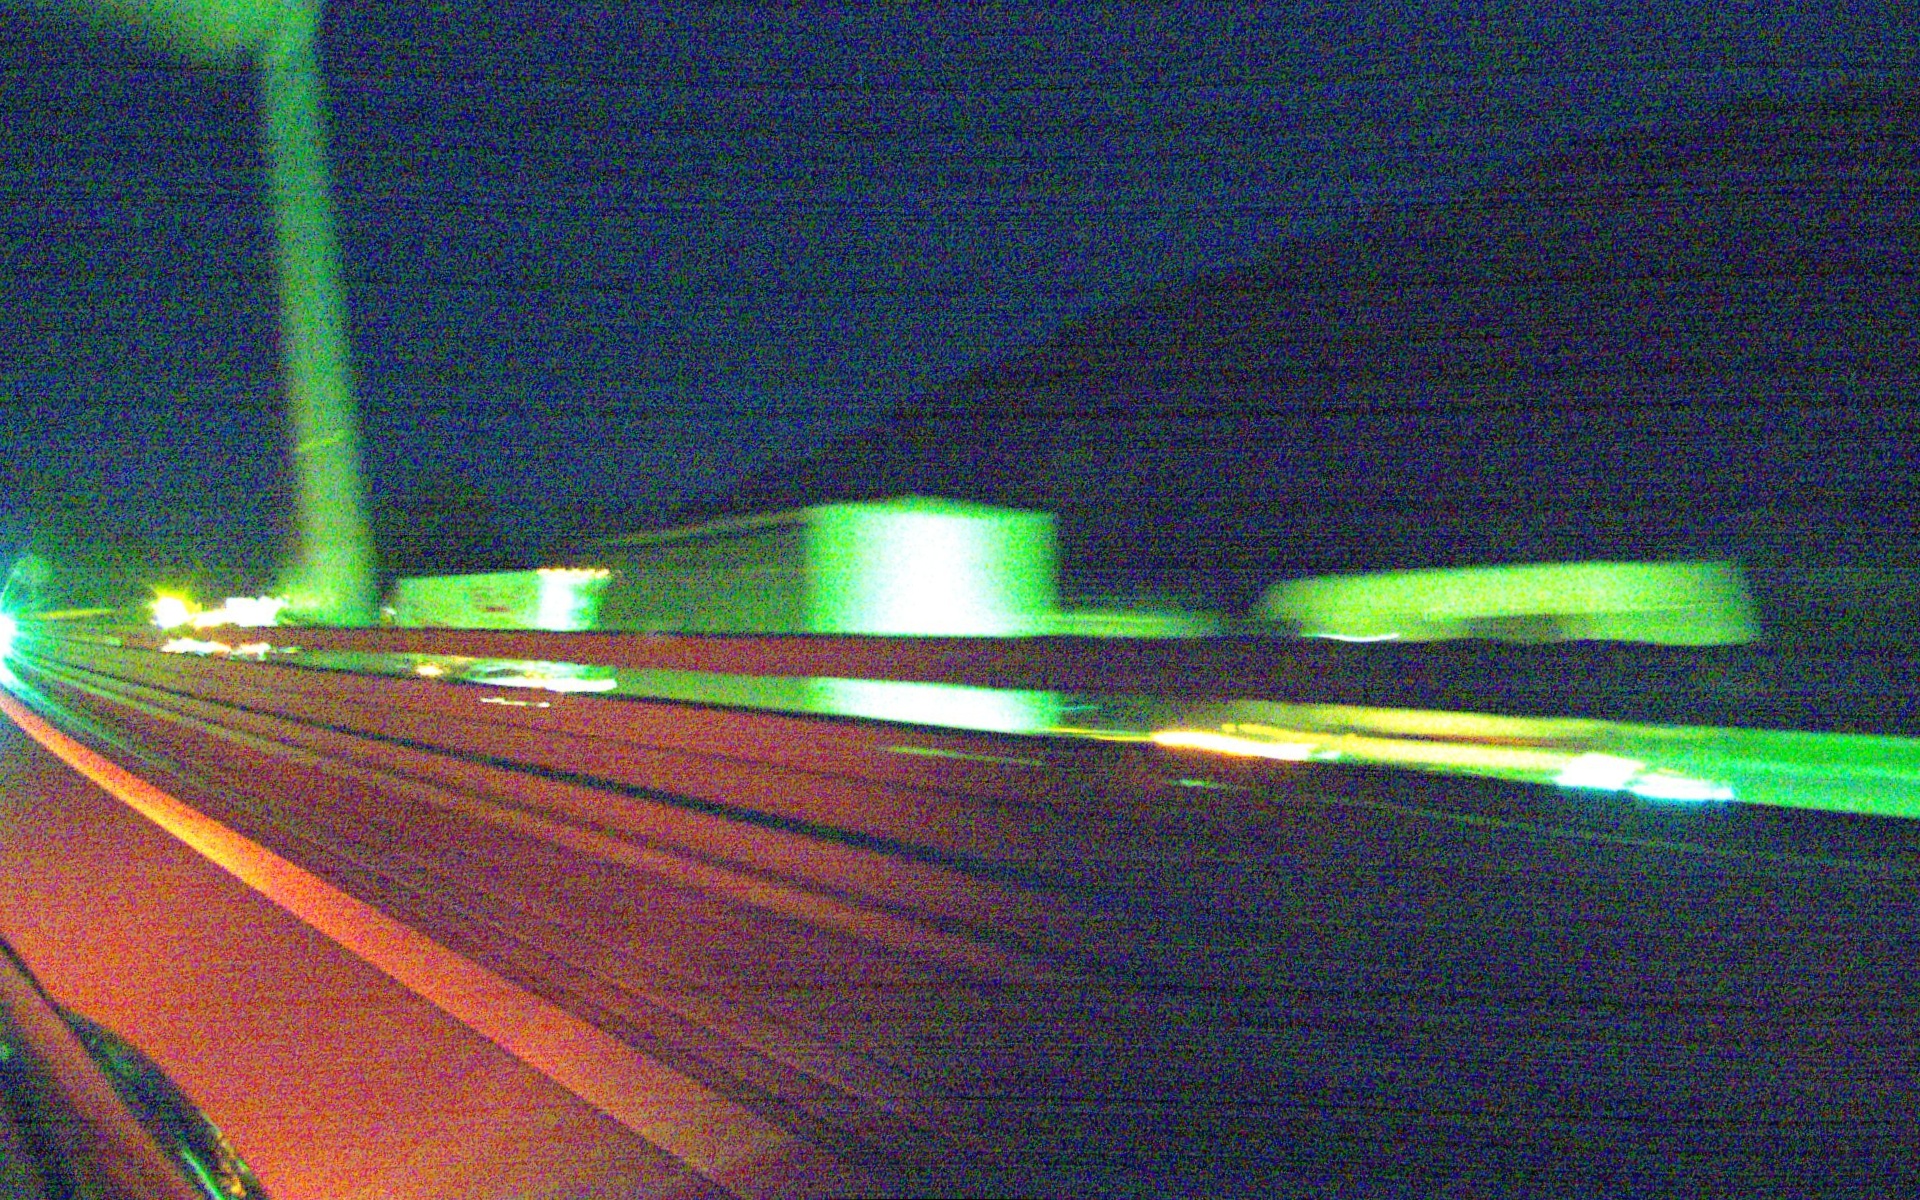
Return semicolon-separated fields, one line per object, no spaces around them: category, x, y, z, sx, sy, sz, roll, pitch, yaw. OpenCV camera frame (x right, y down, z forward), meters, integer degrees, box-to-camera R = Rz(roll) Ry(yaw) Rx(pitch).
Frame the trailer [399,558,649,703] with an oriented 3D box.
trailer;-15.709;1.041;35.577;12.836;4.273;3.397;-1;-2;44

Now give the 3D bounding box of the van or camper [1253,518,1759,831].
van or camper;7.144;0.873;13.695;5.688;3.405;2.247;-1;-2;39

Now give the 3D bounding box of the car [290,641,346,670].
car;-34.531;2.952;54.406;4.000;1.453;1.583;-1;-2;43

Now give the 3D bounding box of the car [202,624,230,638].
car;-90.878;3.766;123.567;2.050;1.647;4.925;-1;0;-44

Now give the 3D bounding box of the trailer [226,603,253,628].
trailer;-136.251;2.879;191.460;3.105;4.347;14.854;-3;2;-32

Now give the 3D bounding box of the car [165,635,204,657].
car;-61.774;3.664;80.569;2.113;1.635;5.119;1;-2;-42

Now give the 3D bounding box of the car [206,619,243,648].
car;-66.406;2.988;91.294;2.003;2.460;5.701;-1;0;-43

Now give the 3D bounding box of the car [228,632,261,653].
car;-56.800;3.336;80.315;1.794;1.569;4.285;0;-1;-41

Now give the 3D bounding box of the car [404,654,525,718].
car;-13.329;2.244;27.134;4.000;1.453;1.583;-1;-2;43

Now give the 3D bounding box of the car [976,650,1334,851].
car;2.396;1.709;12.836;3.993;2.029;1.975;-1;-1;37

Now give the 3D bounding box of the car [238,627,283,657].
car;-50.478;3.002;72.983;2.112;2.070;5.120;1;-2;-40

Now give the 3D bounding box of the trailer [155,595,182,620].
trailer;-126.518;1.170;161.909;2.501;3.741;10.154;-3;2;-34

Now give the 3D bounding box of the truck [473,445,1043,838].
truck;-3.149;0.413;13.145;8.547;3.618;2.626;-1;0;42

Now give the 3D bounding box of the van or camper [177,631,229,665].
van or camper;-47.153;2.949;62.996;1.970;2.029;5.225;1;-2;-44

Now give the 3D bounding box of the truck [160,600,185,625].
truck;-130.319;2.027;167.546;2.568;3.771;6.774;-3;2;-33

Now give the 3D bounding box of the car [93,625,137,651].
car;-57.638;2.548;68.974;2.113;1.719;5.119;1;-2;-42

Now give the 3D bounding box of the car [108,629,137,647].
car;-71.751;3.234;86.710;1.794;1.480;4.285;0;-1;-41

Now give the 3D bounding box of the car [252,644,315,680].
car;-30.536;2.774;45.608;1.582;1.453;4.387;1;-2;-44

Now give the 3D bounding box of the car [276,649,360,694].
car;-23.786;2.600;37.435;4.255;1.453;1.583;-1;-2;43

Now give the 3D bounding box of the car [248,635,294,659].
car;-44.428;3.012;65.219;1.816;1.453;4.004;1;-1;-43

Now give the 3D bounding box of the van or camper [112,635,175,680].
van or camper;-39.926;2.767;49.453;2.006;2.029;4.579;1;-2;-44

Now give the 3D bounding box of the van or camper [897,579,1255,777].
van or camper;1.828;1.242;18.075;6.393;2.994;1.815;-1;-2;39

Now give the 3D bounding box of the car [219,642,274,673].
car;-36.821;2.917;52.190;4.001;1.453;1.583;-1;-2;44

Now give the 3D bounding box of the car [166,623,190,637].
car;-83.760;3.191;108.372;1.794;1.480;4.285;0;-1;-41

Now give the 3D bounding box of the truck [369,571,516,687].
truck;-20.807;1.164;40.575;6.285;4.255;3.379;-1;-2;45
